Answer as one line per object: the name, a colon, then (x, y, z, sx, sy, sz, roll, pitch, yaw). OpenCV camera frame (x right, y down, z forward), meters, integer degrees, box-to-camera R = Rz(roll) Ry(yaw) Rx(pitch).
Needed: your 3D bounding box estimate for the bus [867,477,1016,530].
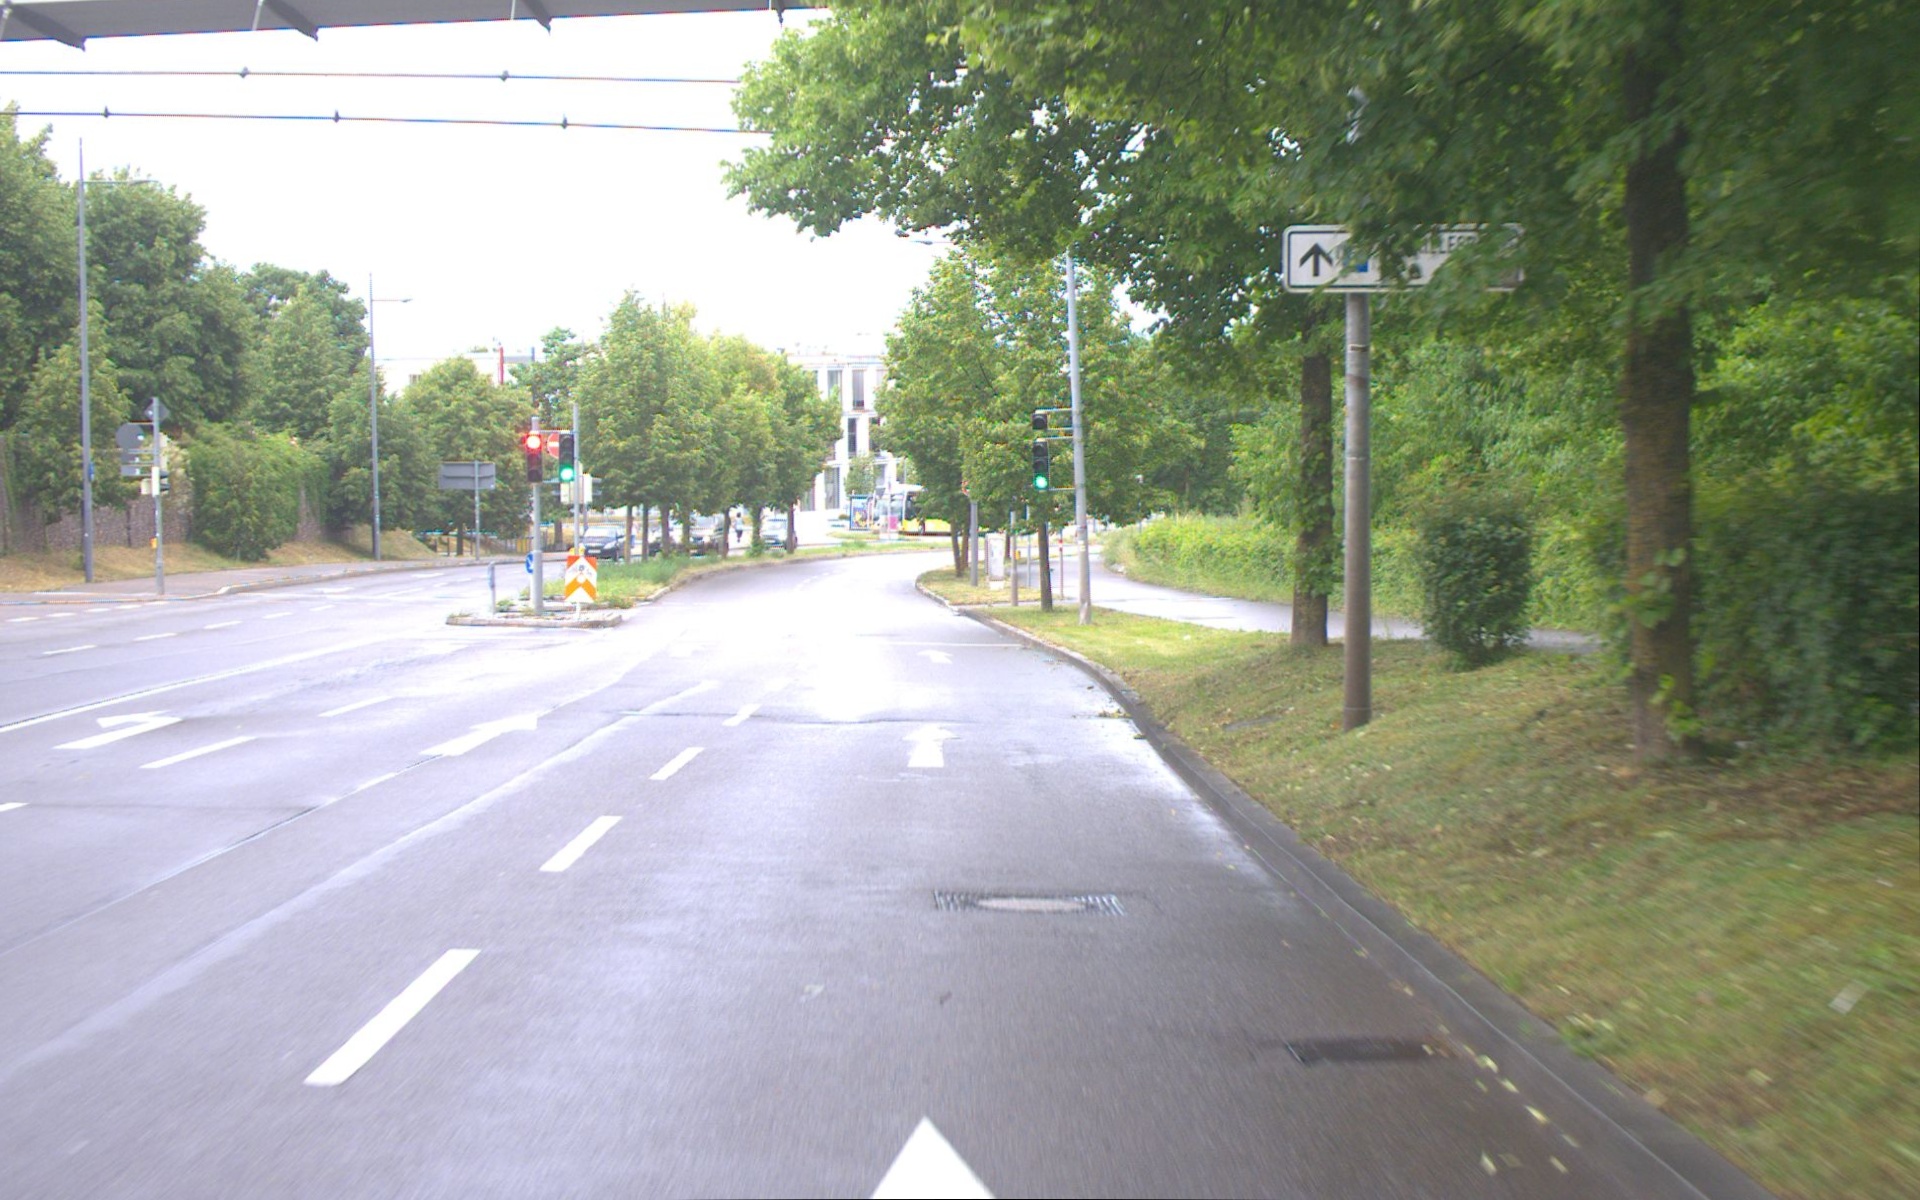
bus: (-1.097, -6.615, 237.812, 2.788, 3.345, 18.202, 1, 1, 25)

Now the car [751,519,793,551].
car: (-9.651, -3.334, 176.356, 1.687, 1.534, 2.915, 1, 2, 7)

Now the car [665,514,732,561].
car: (-10.885, -2.633, 143.520, 2.014, 1.912, 5.094, 1, 1, 5)

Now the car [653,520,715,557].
car: (-12.443, -2.781, 155.281, 1.881, 1.589, 4.765, 1, 1, 7)

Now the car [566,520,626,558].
car: (-14.746, -2.482, 139.427, 1.598, 1.484, 3.999, 1, 1, 7)
